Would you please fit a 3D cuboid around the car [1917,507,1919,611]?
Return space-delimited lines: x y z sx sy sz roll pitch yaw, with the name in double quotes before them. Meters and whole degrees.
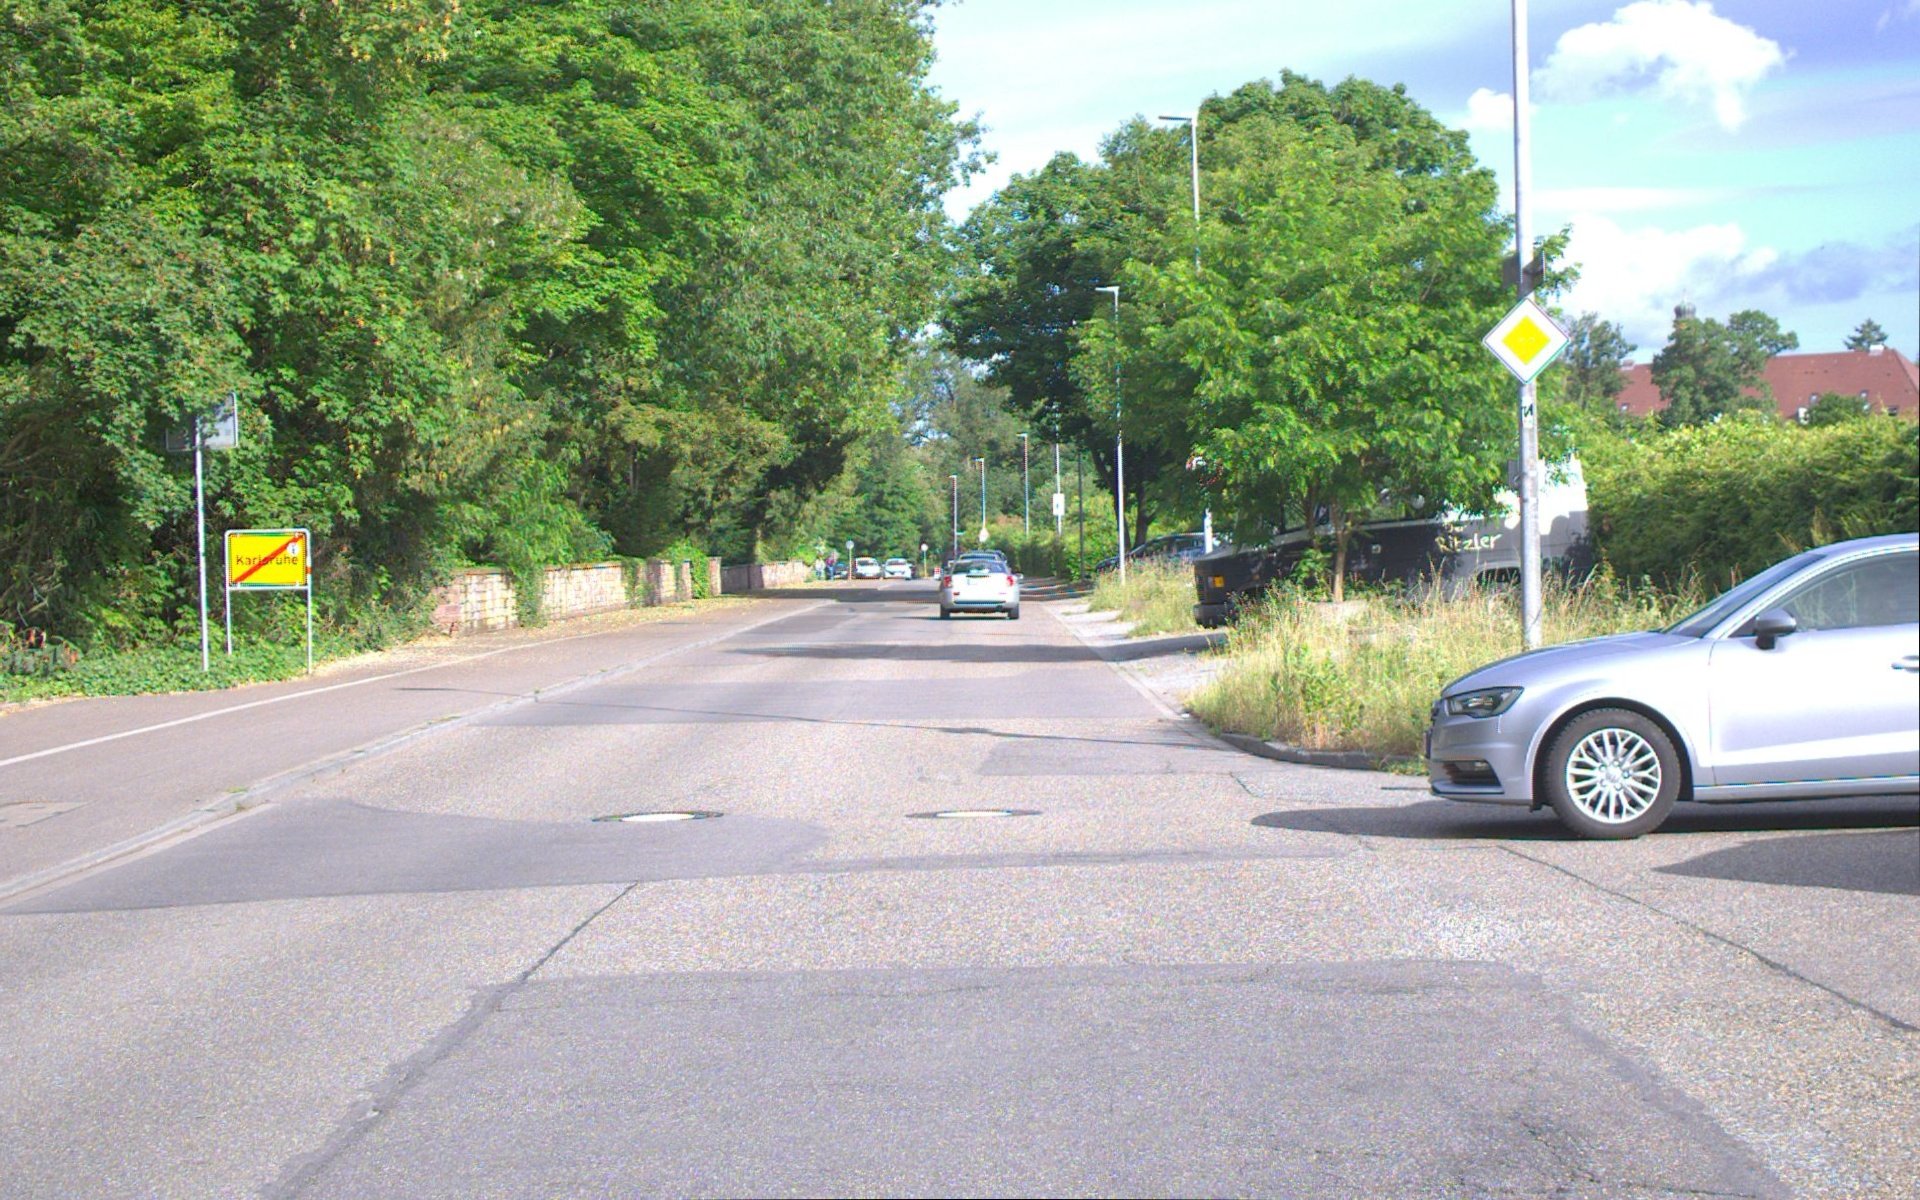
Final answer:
"car" 5.977 0.277 12.812 4.321 1.429 1.973 -3 1 -23

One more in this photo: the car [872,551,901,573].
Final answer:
"car" -4.878 -2.532 227.951 1.886 1.367 4.055 -1 1 -2

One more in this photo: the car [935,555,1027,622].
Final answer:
"car" 0.431 -0.266 74.535 1.886 1.367 4.055 -1 1 -1

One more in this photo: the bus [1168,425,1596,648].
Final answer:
"bus" 5.640 -0.866 46.389 5.364 2.737 2.069 -2 1 -2

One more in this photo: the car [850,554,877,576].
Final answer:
"car" -7.230 -2.626 258.292 1.886 1.608 4.055 -1 1 -1

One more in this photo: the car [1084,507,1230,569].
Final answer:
"car" 6.169 -1.954 108.116 4.403 1.641 2.000 -4 1 1

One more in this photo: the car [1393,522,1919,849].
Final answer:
"car" 4.333 0.360 16.714 4.363 1.438 1.932 -2 0 7

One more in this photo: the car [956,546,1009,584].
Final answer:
"car" 0.832 -1.298 128.260 1.886 1.367 4.055 -1 1 -1
